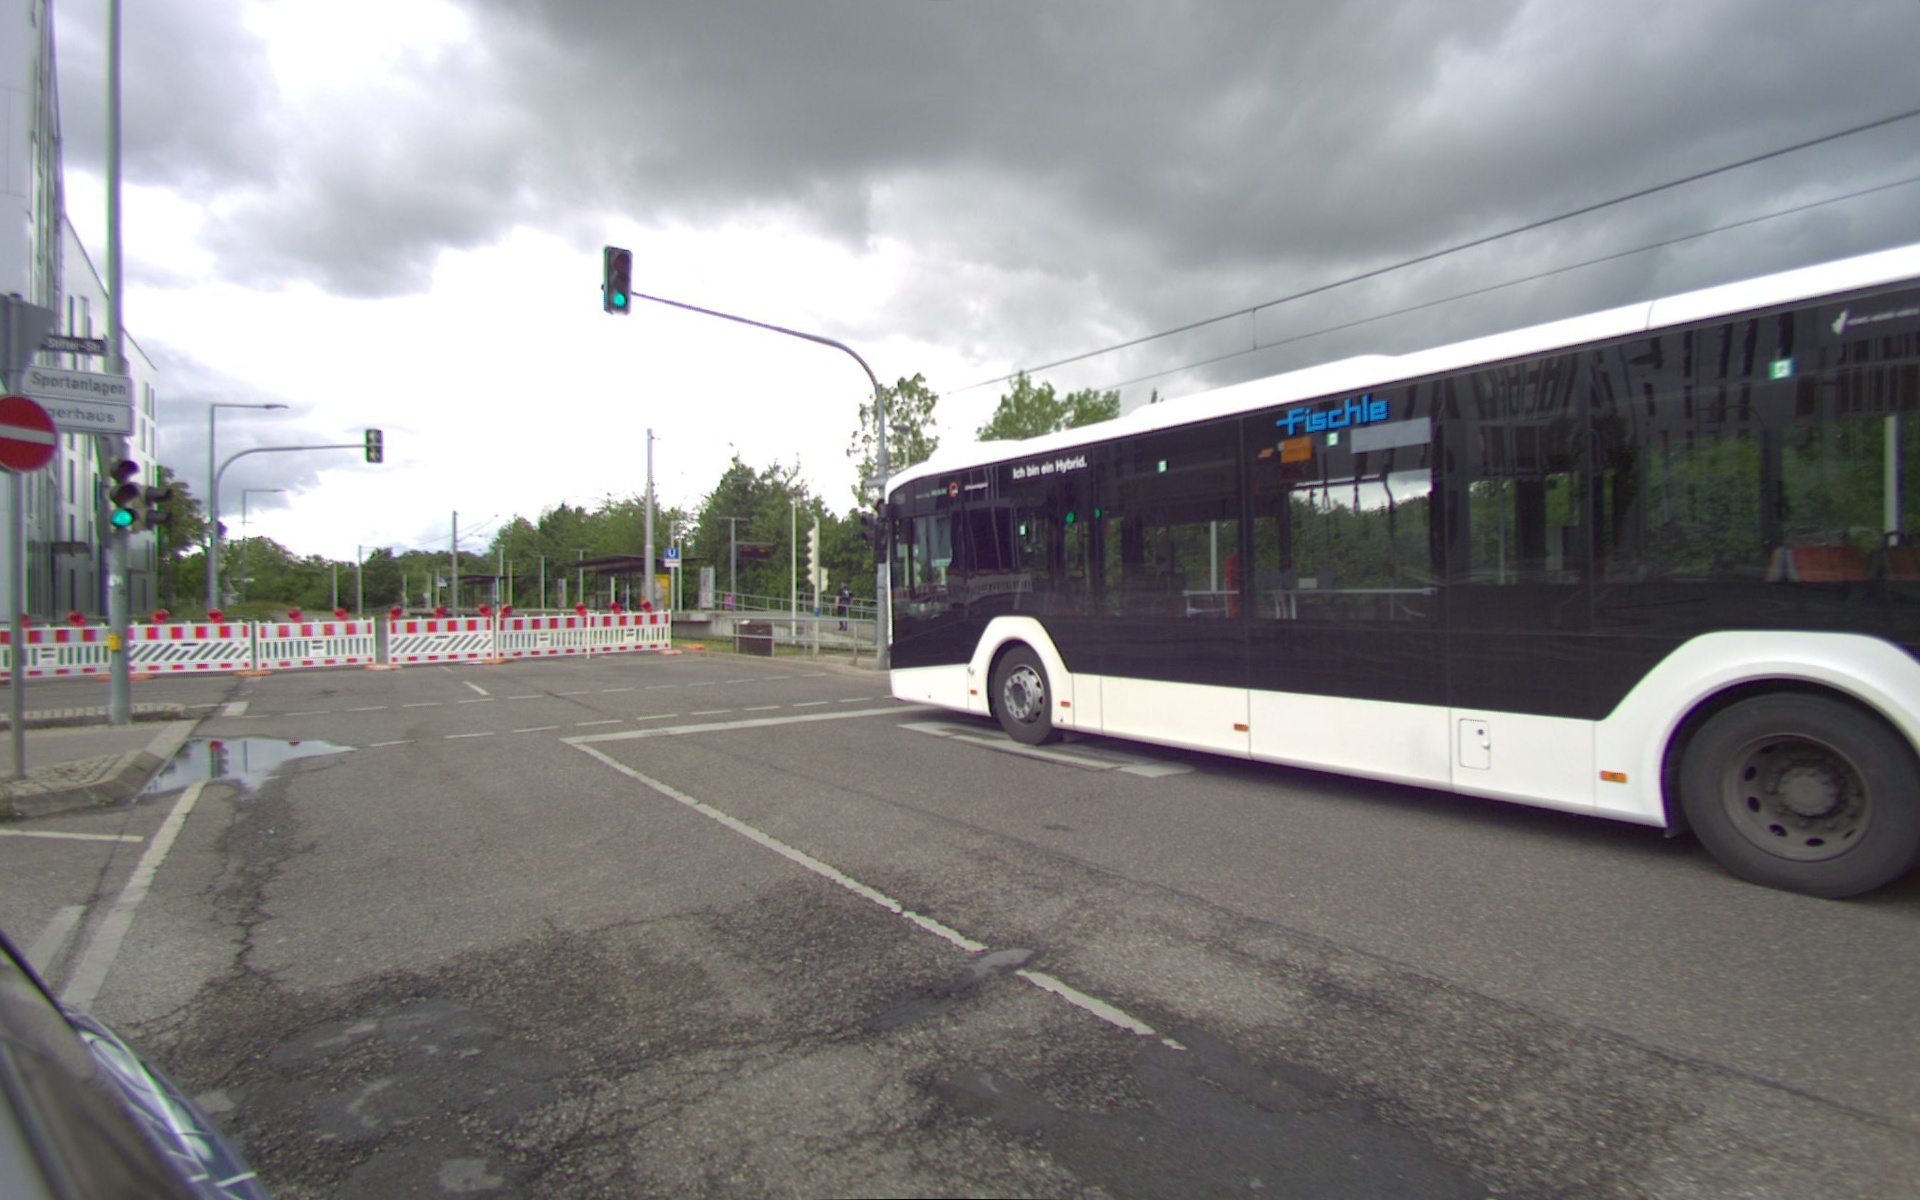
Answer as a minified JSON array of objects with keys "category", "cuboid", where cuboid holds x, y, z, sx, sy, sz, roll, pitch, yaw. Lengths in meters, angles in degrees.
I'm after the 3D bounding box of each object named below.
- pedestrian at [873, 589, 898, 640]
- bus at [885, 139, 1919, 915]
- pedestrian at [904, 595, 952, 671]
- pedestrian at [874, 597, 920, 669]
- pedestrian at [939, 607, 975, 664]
[{"category":"pedestrian","cuboid":[-2.583,0.494,35.218,0.713,1.761,0.956,0,0,6]},{"category":"bus","cuboid":[3.579,-0.288,7.238,2.630,3.227,12.233,0,0,-33]},{"category":"pedestrian","cuboid":[-0.768,0.774,24.249,0.941,1.761,0.725,0,0,-28]},{"category":"pedestrian","cuboid":[-1.578,0.805,25.369,0.941,1.761,0.725,0,0,-28]},{"category":"pedestrian","cuboid":[-0.098,1.031,29.836,0.792,1.633,0.724,0,0,-34]}]
